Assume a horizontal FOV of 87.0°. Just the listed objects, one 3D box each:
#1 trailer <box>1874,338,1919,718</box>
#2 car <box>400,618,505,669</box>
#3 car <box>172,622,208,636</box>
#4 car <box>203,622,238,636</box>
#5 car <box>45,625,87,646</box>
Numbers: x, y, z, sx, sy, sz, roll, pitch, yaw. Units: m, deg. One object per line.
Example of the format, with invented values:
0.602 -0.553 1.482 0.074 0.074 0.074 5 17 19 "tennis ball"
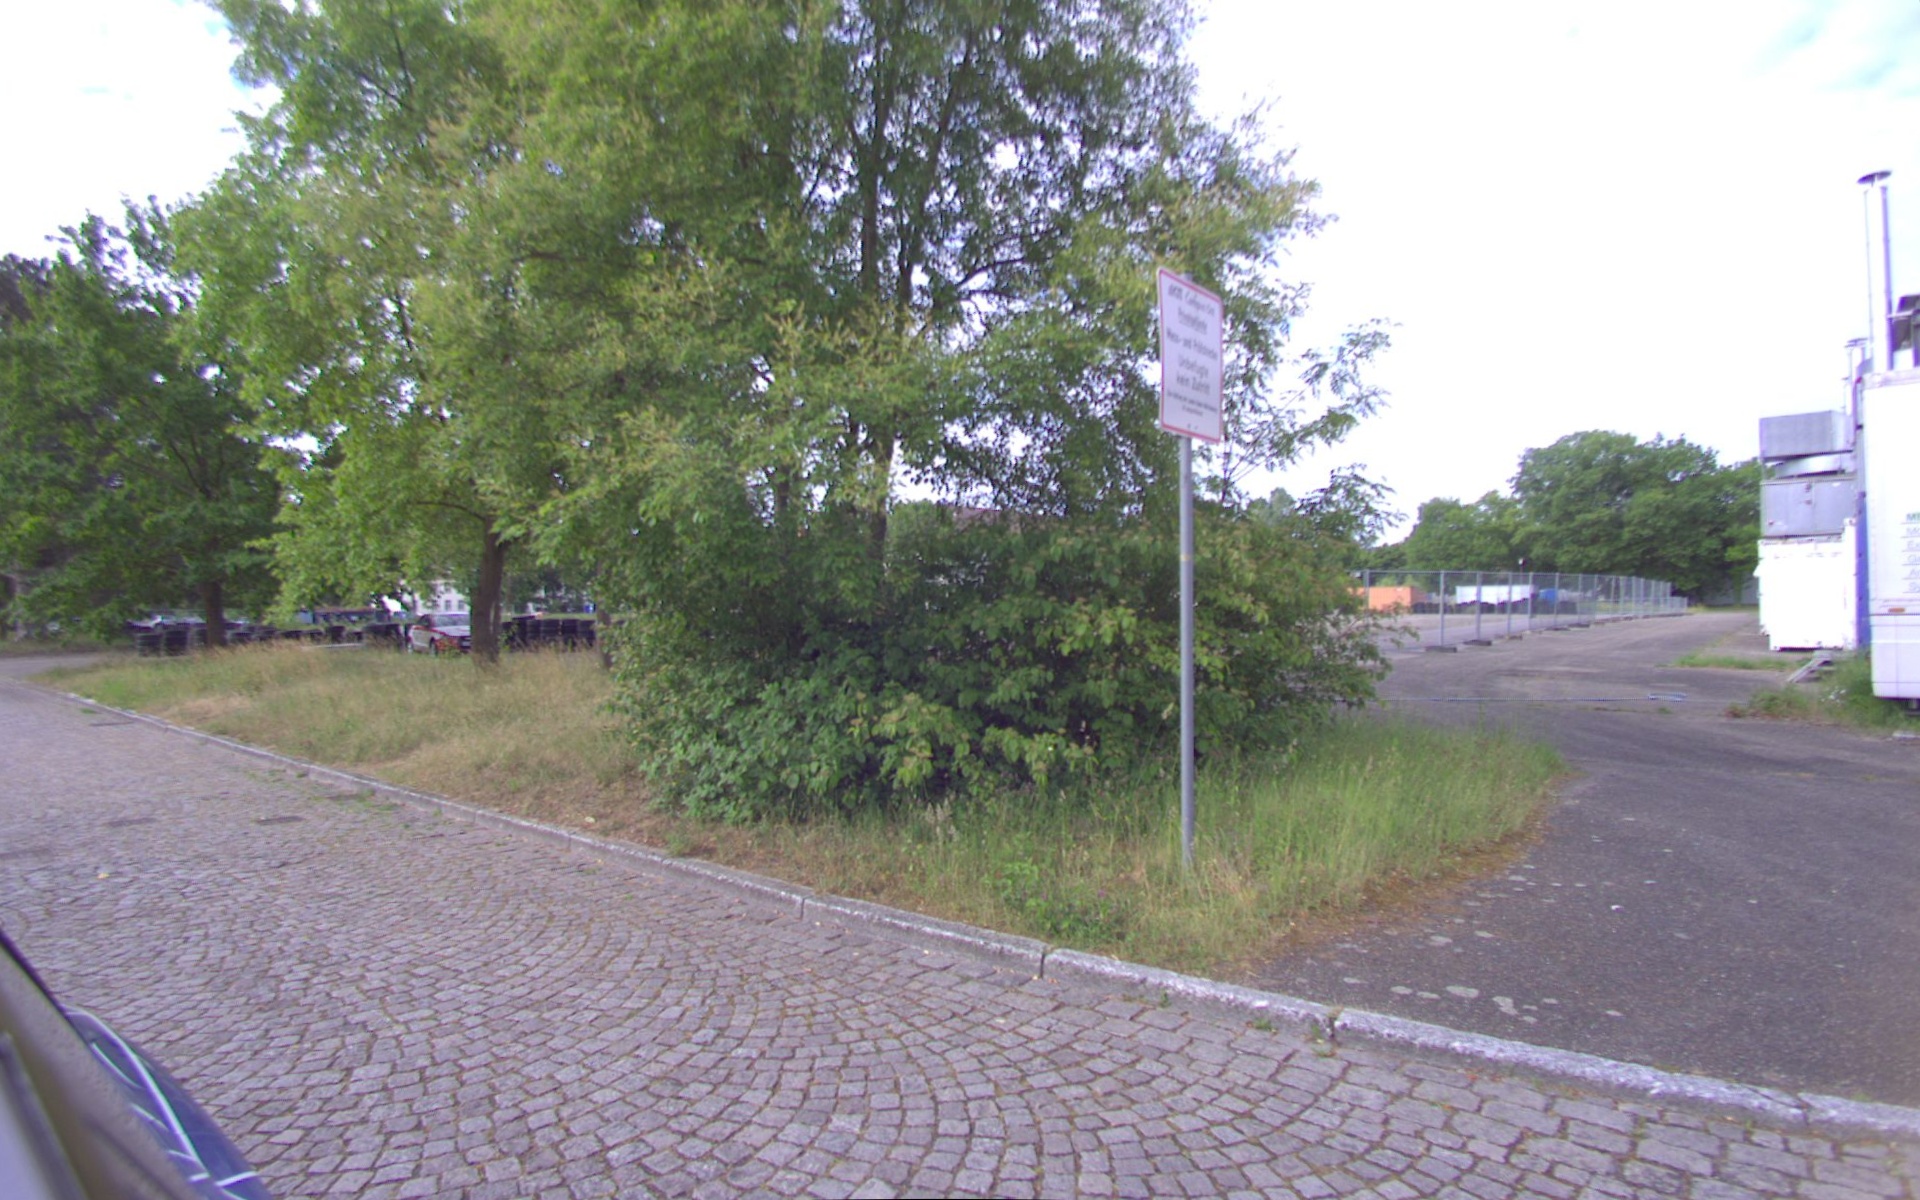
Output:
14.016 -0.814 7.442 10.722 3.734 2.627 -2 -1 43 "trailer"
-15.867 1.308 31.547 1.802 1.442 4.223 -1 -1 -43 "car"
-82.941 3.154 109.023 4.447 1.460 1.975 -1 -1 38 "car"
-81.487 3.177 111.532 4.447 1.460 1.975 -1 -1 38 "car"
-64.039 2.516 72.490 3.719 1.421 1.649 -2 -1 39 "car"
